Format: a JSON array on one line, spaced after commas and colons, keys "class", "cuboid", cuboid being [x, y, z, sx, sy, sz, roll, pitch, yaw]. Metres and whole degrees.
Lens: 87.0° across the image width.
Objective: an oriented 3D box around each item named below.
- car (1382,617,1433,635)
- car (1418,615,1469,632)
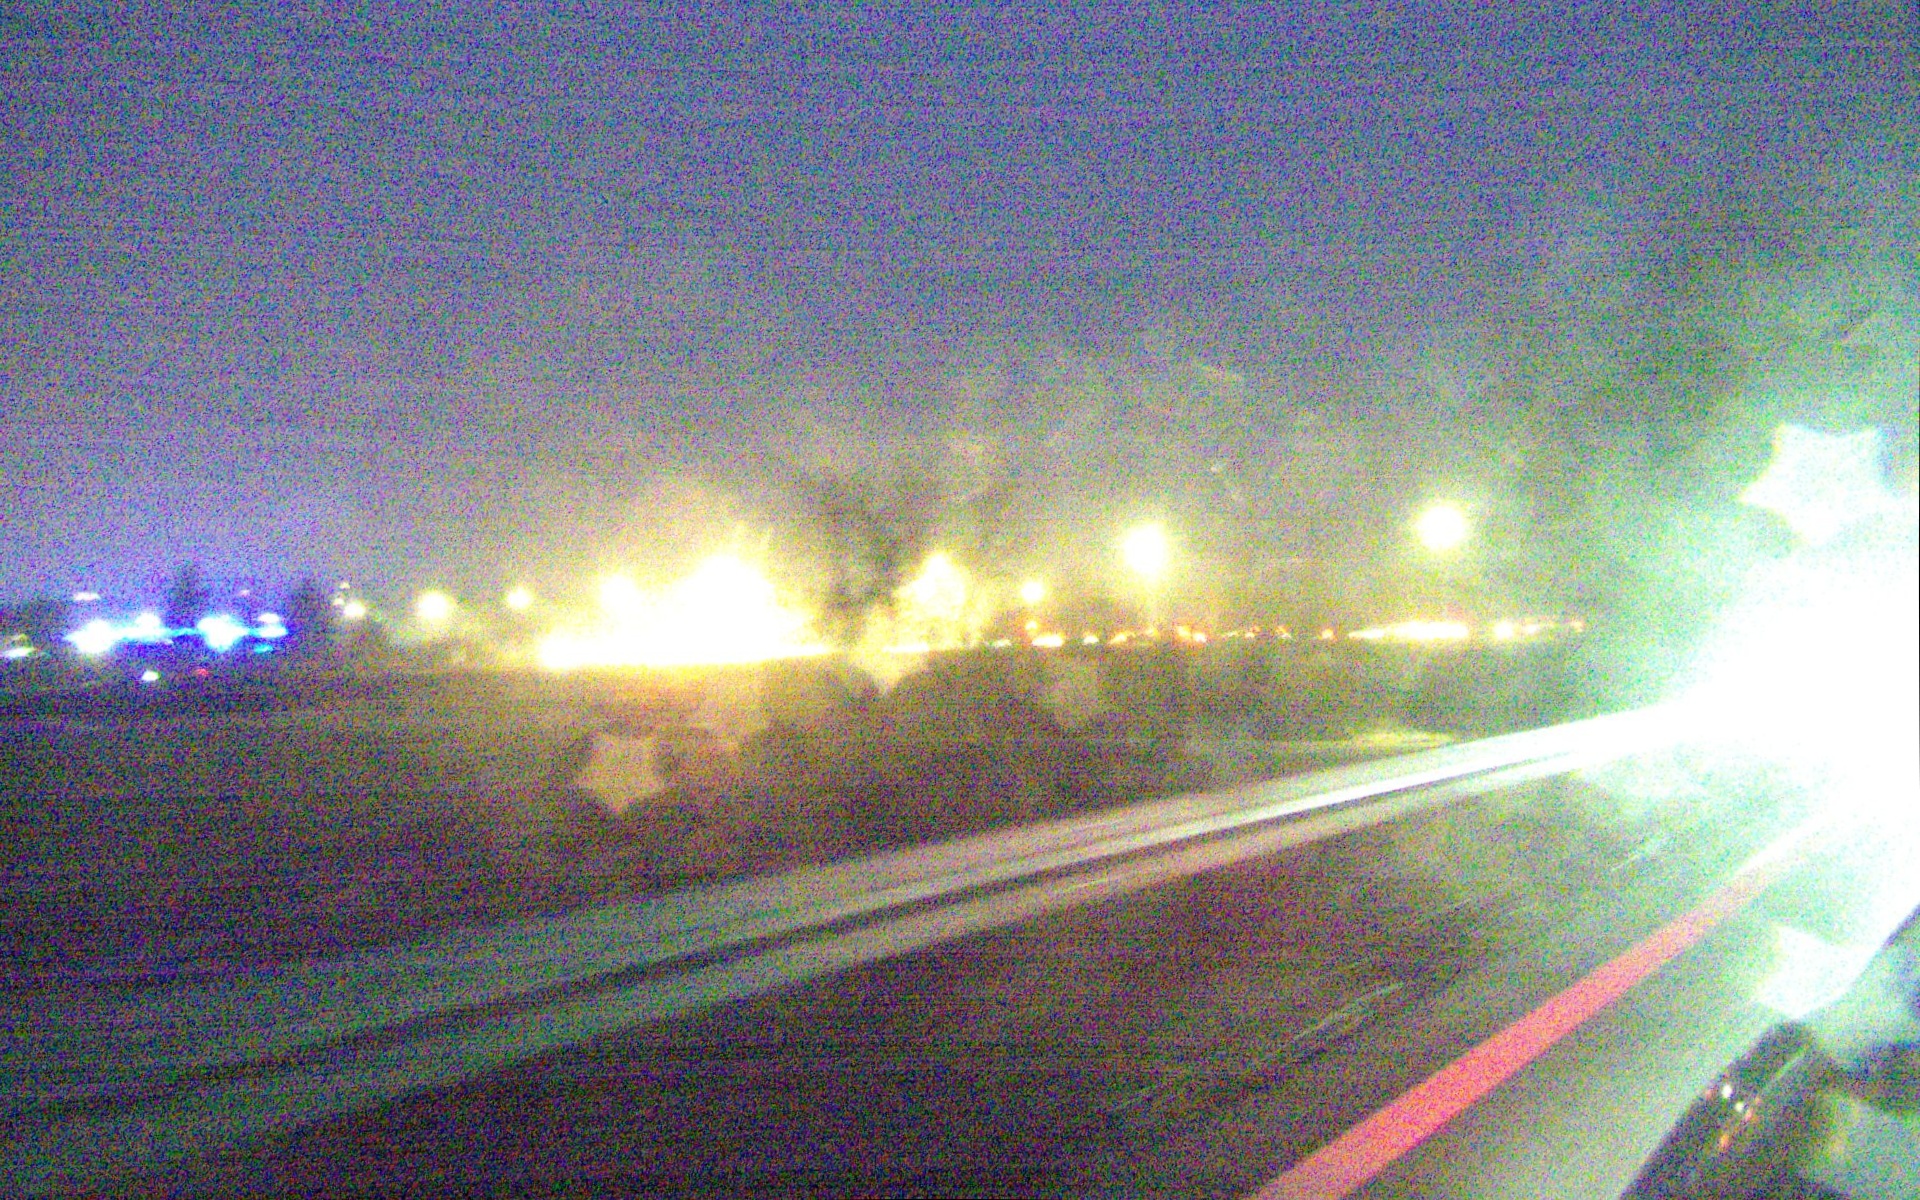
[{"class": "car", "cuboid": [40.907, 2.395, 92.551, 3.971, 1.460, 1.697, -3, -4, 34]}, {"class": "car", "cuboid": [44.541, 2.206, 93.258, 3.971, 1.460, 1.697, -3, -3, 34]}]
